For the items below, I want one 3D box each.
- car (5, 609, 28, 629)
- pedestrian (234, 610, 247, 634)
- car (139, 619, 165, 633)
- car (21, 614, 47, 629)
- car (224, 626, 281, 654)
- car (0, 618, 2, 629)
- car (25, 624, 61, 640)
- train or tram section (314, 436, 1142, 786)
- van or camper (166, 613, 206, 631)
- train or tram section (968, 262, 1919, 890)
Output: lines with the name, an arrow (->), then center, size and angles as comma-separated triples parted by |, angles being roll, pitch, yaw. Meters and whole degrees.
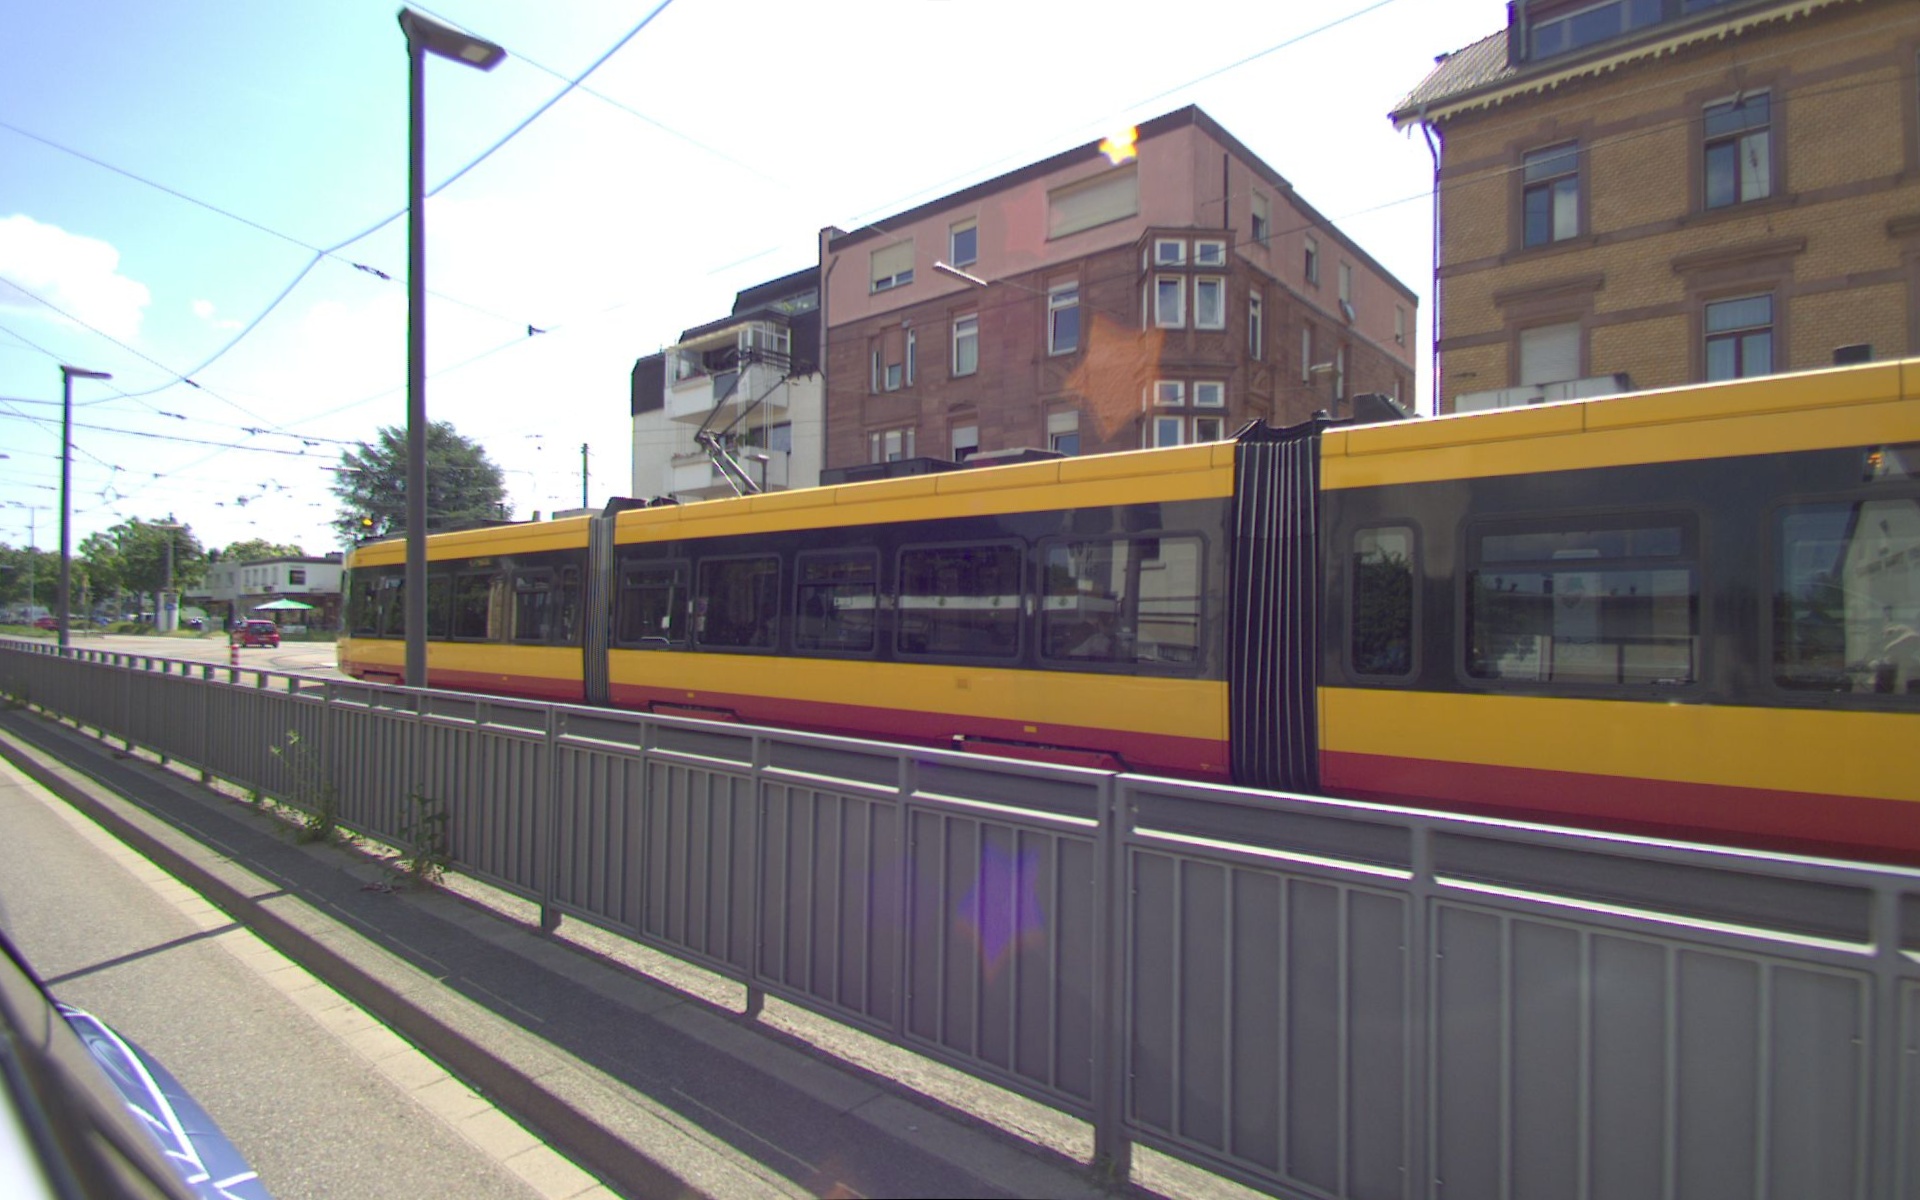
car -> -129.639, 2.609, 139.053 | 3.997, 2.608, 1.722 | -1, -3, 40
pedestrian -> -56.722, 1.730, 79.773 | 0.679, 1.788, 0.485 | 0, 3, 22
car -> -100.949, 3.211, 126.376 | 3.997, 1.706, 1.722 | -1, -3, 40
car -> -118.404, 2.750, 129.377 | 3.997, 1.980, 1.941 | -1, -3, 40
car -> -38.118, 2.110, 54.482 | 3.851, 1.456, 1.637 | -1, -3, 41
car -> -146.540, 3.538, 153.269 | 3.997, 1.706, 1.722 | -1, -3, 40
car -> -86.228, 3.042, 95.126 | 4.820, 1.461, 1.972 | -1, -3, 42
train or tram section -> -6.454, 0.207, 18.379 | 20.490, 3.594, 3.217 | 0, -2, 41
van or camper -> -134.428, 3.837, 175.724 | 2.246, 3.141, 5.091 | -1, -2, 40
train or tram section -> 7.289, -0.110, 6.340 | 16.341, 3.594, 3.201 | 0, -2, 41
